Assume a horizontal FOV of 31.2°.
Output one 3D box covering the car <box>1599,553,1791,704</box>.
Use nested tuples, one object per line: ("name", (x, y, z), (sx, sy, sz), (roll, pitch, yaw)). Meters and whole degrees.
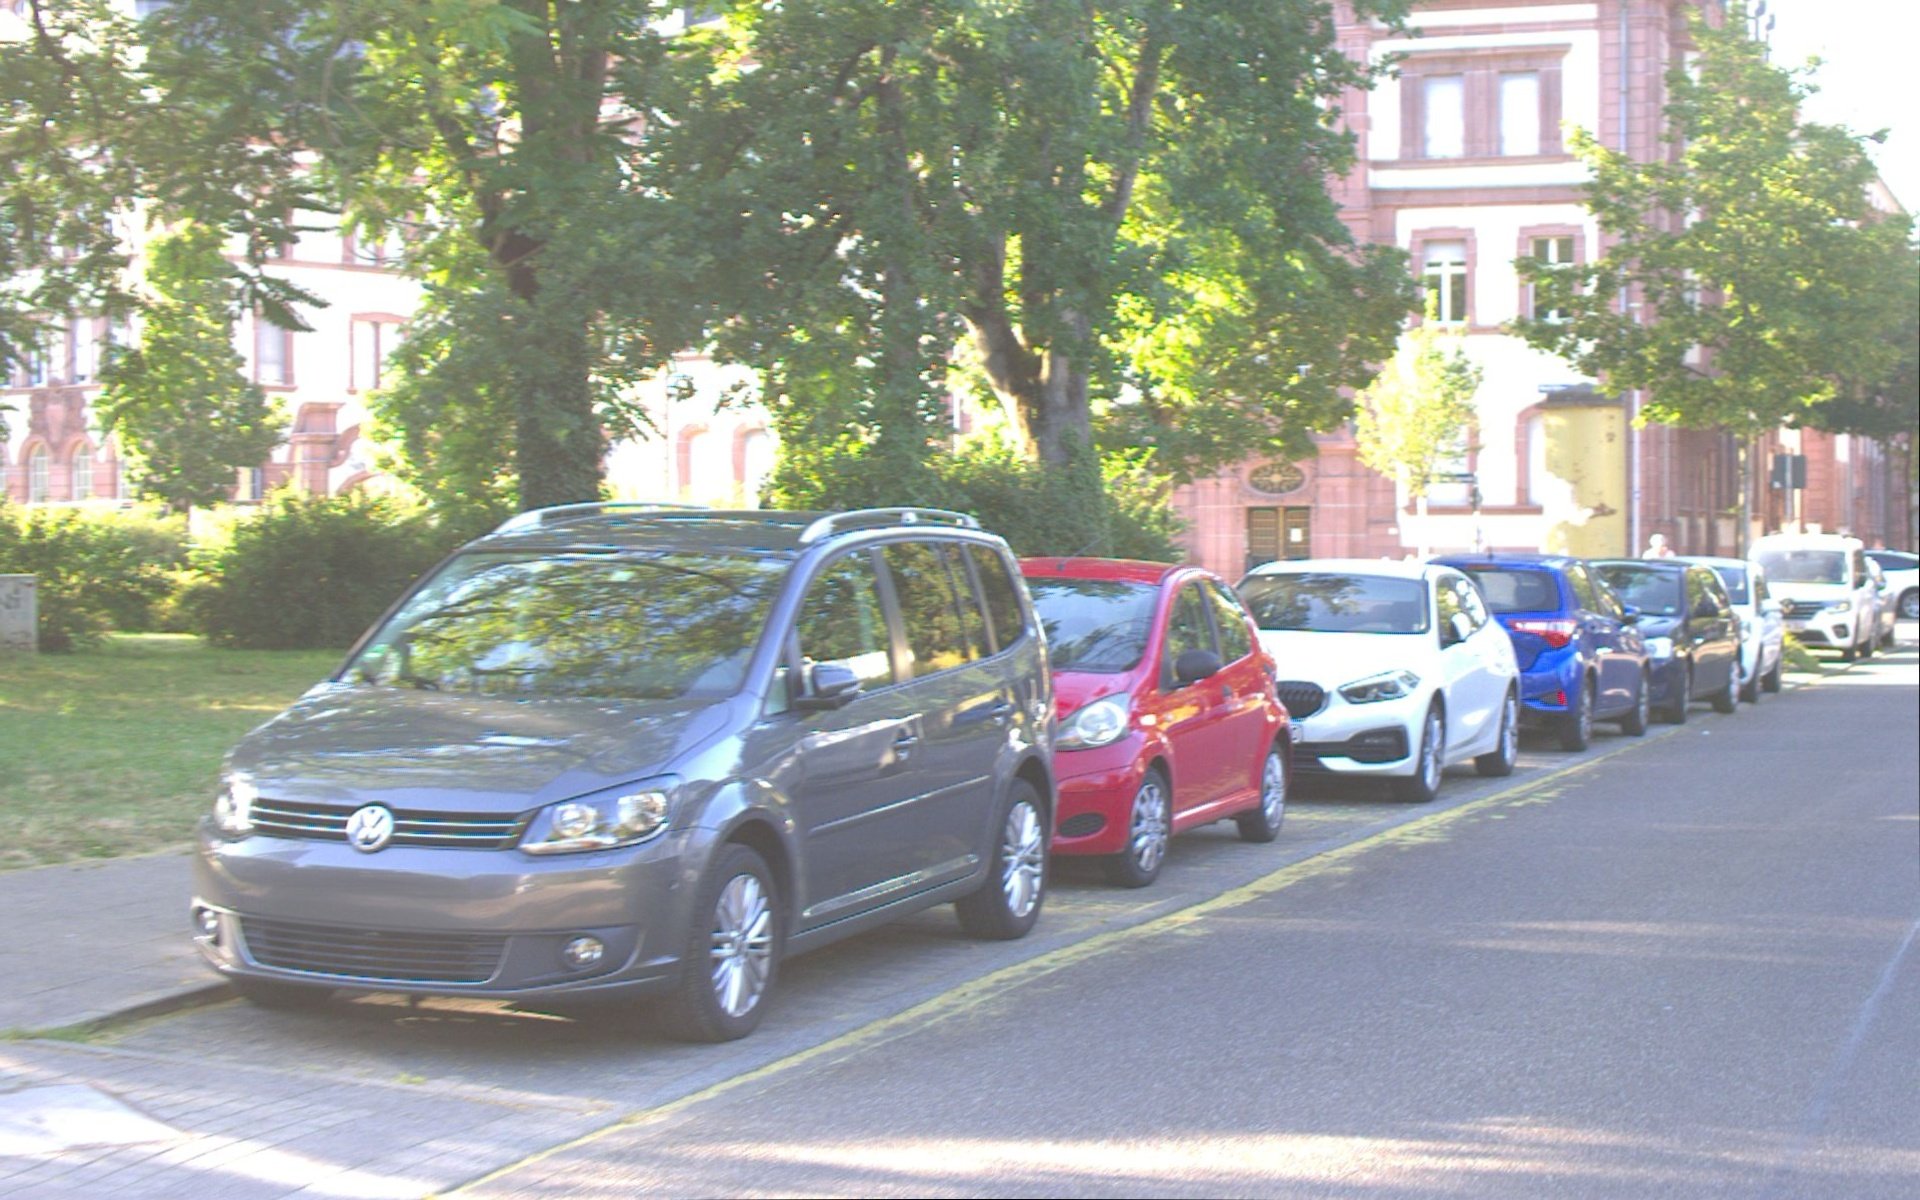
("car", (7.963, 0.258, 37.056), (1.593, 1.521, 3.862), (0, 1, 18))

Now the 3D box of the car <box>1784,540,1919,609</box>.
("car", (23.068, -0.641, 86.308), (4.486, 1.711, 1.841), (0, 1, 18))

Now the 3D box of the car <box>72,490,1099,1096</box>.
("car", (-1.065, 0.508, 12.093), (1.803, 1.670, 4.316), (2, 2, 20))

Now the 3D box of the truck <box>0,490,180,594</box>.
("truck", (-27.156, -1.752, 103.178), (7.999, 3.019, 2.607), (1, 1, 35))

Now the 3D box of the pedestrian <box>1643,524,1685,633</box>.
("pedestrian", (11.649, -0.363, 56.873), (0.599, 1.778, 0.945), (0, 1, 16))

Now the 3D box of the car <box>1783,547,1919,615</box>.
("car", (23.531, -0.497, 88.443), (4.486, 1.711, 1.841), (0, 1, 18))

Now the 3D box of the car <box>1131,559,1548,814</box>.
("car", (2.520, 0.474, 21.997), (1.692, 1.401, 3.971), (2, 2, 20))

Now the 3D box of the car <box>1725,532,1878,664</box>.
("car", (12.366, -0.063, 50.371), (1.782, 1.834, 4.548), (0, 1, 19))

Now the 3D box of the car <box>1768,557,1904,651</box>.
("car", (14.769, 0.037, 57.826), (1.783, 1.500, 4.548), (1, 1, 20))

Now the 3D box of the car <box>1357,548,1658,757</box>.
("car", (4.457, 0.360, 27.578), (1.640, 1.490, 3.701), (2, 2, 20))

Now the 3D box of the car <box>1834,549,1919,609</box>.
("car", (26.193, -0.570, 93.756), (4.486, 1.602, 1.841), (1, 1, 18))

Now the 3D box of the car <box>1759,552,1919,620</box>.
("car", (21.616, -0.337, 82.018), (4.846, 1.588, 1.841), (0, 1, 18))

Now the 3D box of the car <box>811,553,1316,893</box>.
("car", (0.603, 0.509, 16.714), (1.389, 1.418, 3.423), (2, 2, 20))

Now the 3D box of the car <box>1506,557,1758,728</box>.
("car", (6.365, 0.346, 32.303), (1.553, 1.489, 3.938), (1, 1, 23))

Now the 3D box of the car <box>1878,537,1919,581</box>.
("car", (36.145, -1.489, 126.505), (4.486, 1.602, 1.841), (1, 1, 18))
